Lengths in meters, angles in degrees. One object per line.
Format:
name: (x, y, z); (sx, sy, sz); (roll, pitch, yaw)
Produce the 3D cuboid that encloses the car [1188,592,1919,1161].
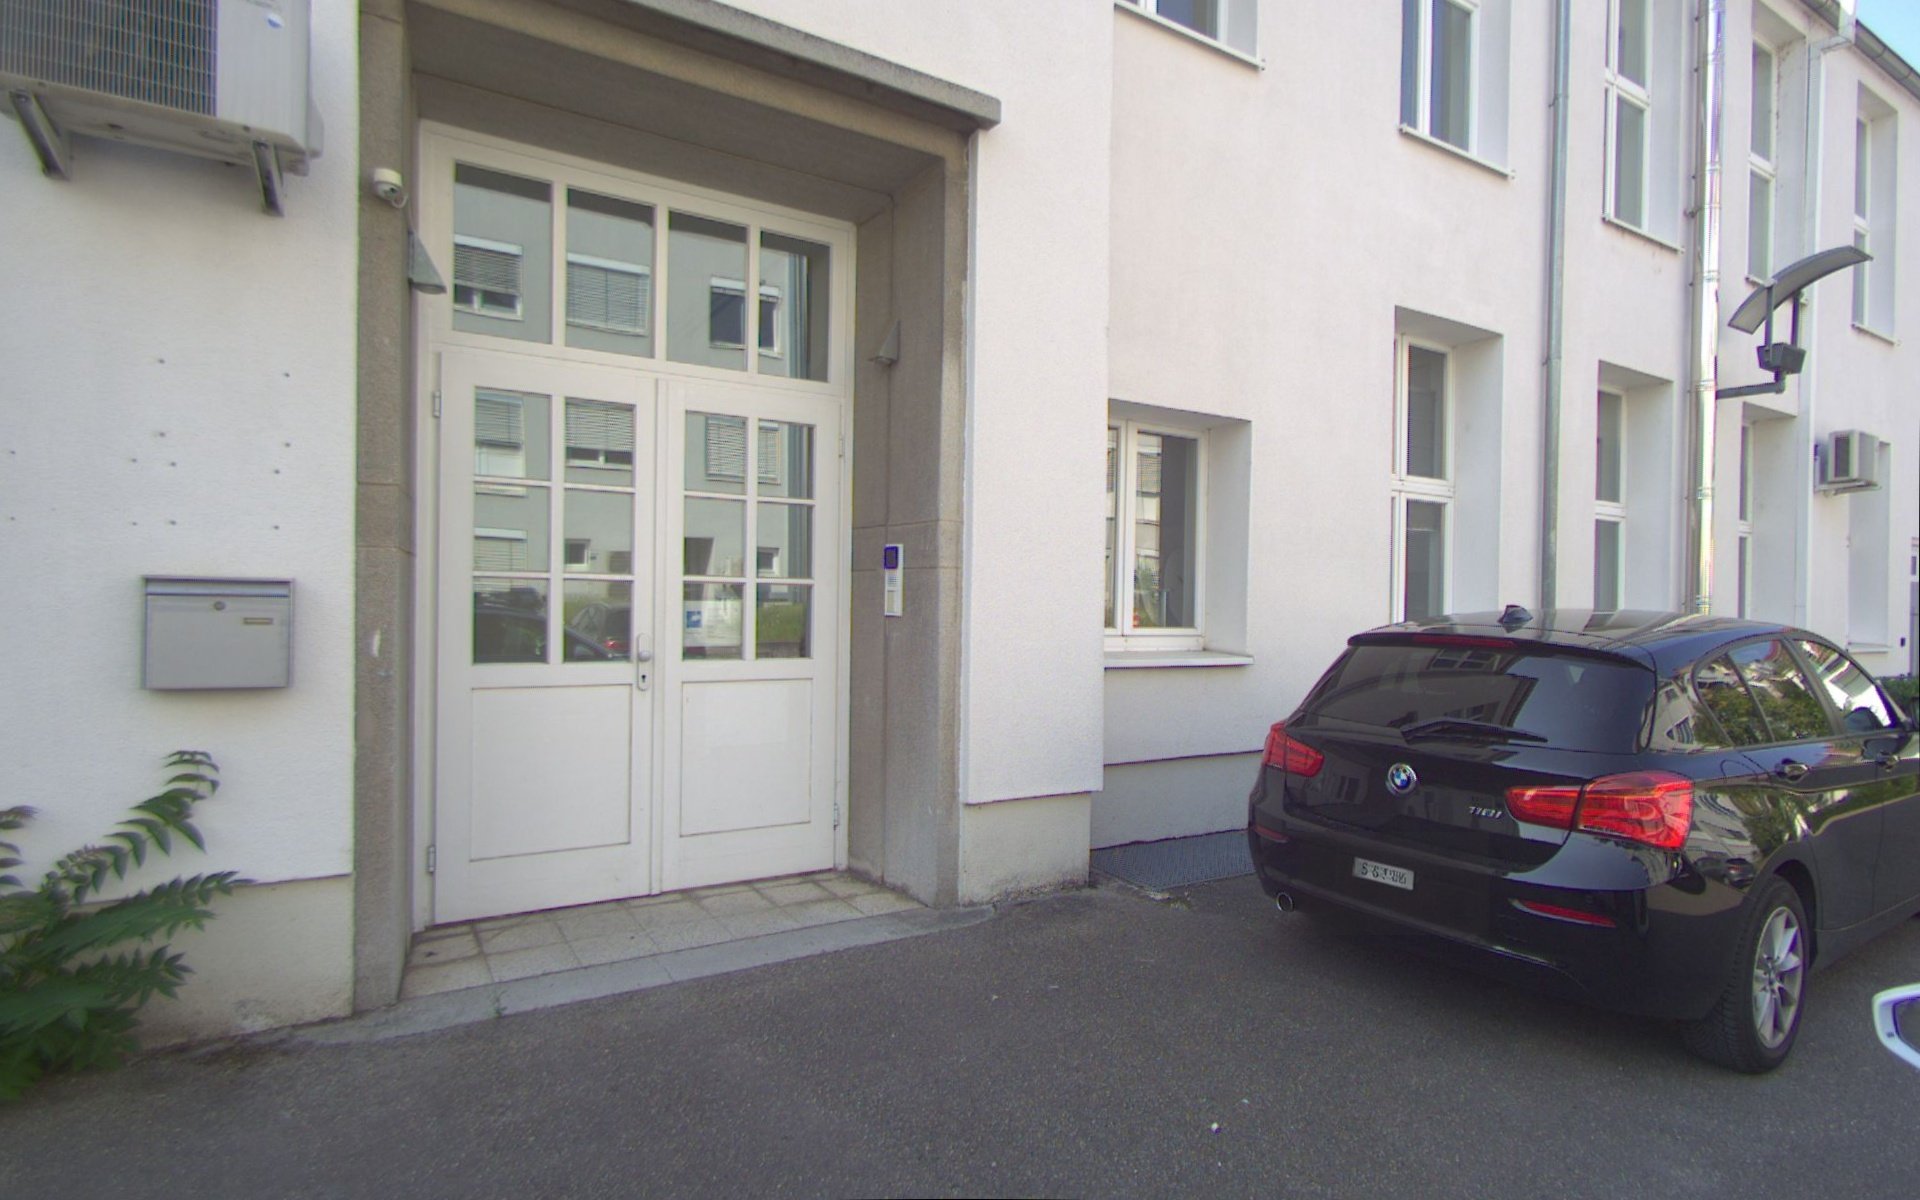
car: (3.002, 0.764, 4.407); (3.881, 1.478, 1.678); (2, 0, -33)
